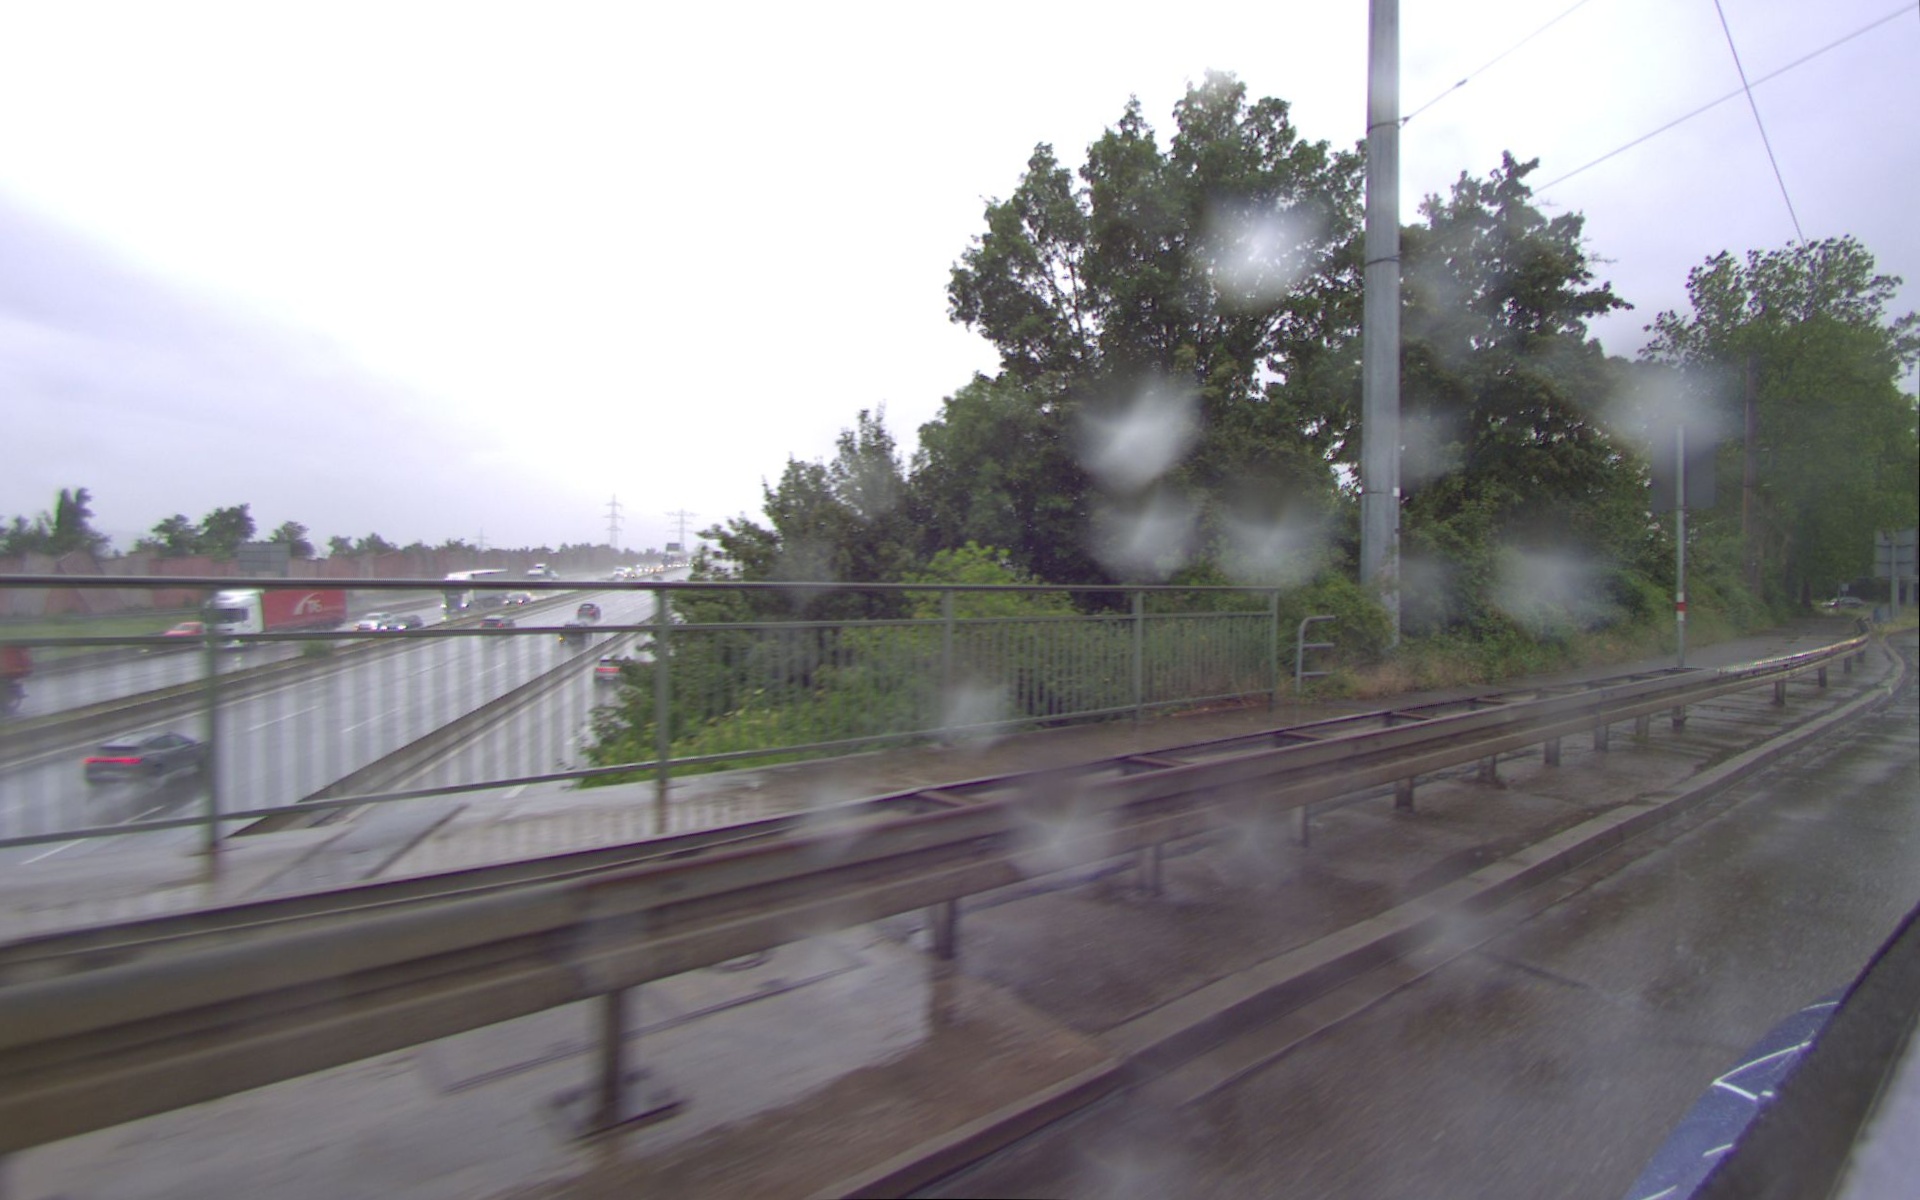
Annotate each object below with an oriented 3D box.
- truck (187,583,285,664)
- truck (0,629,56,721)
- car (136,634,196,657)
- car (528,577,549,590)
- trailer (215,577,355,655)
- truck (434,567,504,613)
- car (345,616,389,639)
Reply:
[{"bbox_3d":[-51.177,1.556,71.790,3.079,5.176,5.816,-2,3,-7],"label":"truck"},{"bbox_3d":[-42.303,3.380,40.136,3.079,3.797,12.399,-2,1,-7],"label":"truck"},{"bbox_3d":[-58.419,3.328,74.538,1.770,1.605,4.004,-2,-2,-9],"label":"car"},{"bbox_3d":[-59.720,-2.342,143.473,1.887,1.781,3.876,-1,0,-9],"label":"car"},{"bbox_3d":[-52.210,0.987,79.046,3.079,5.008,13.871,-2,3,-7],"label":"trailer"},{"bbox_3d":[-53.975,-1.226,111.765,3.079,4.496,12.405,-2,3,-7],"label":"truck"},{"bbox_3d":[-49.785,2.304,84.989,1.770,1.517,4.008,-2,3,-8],"label":"car"}]
